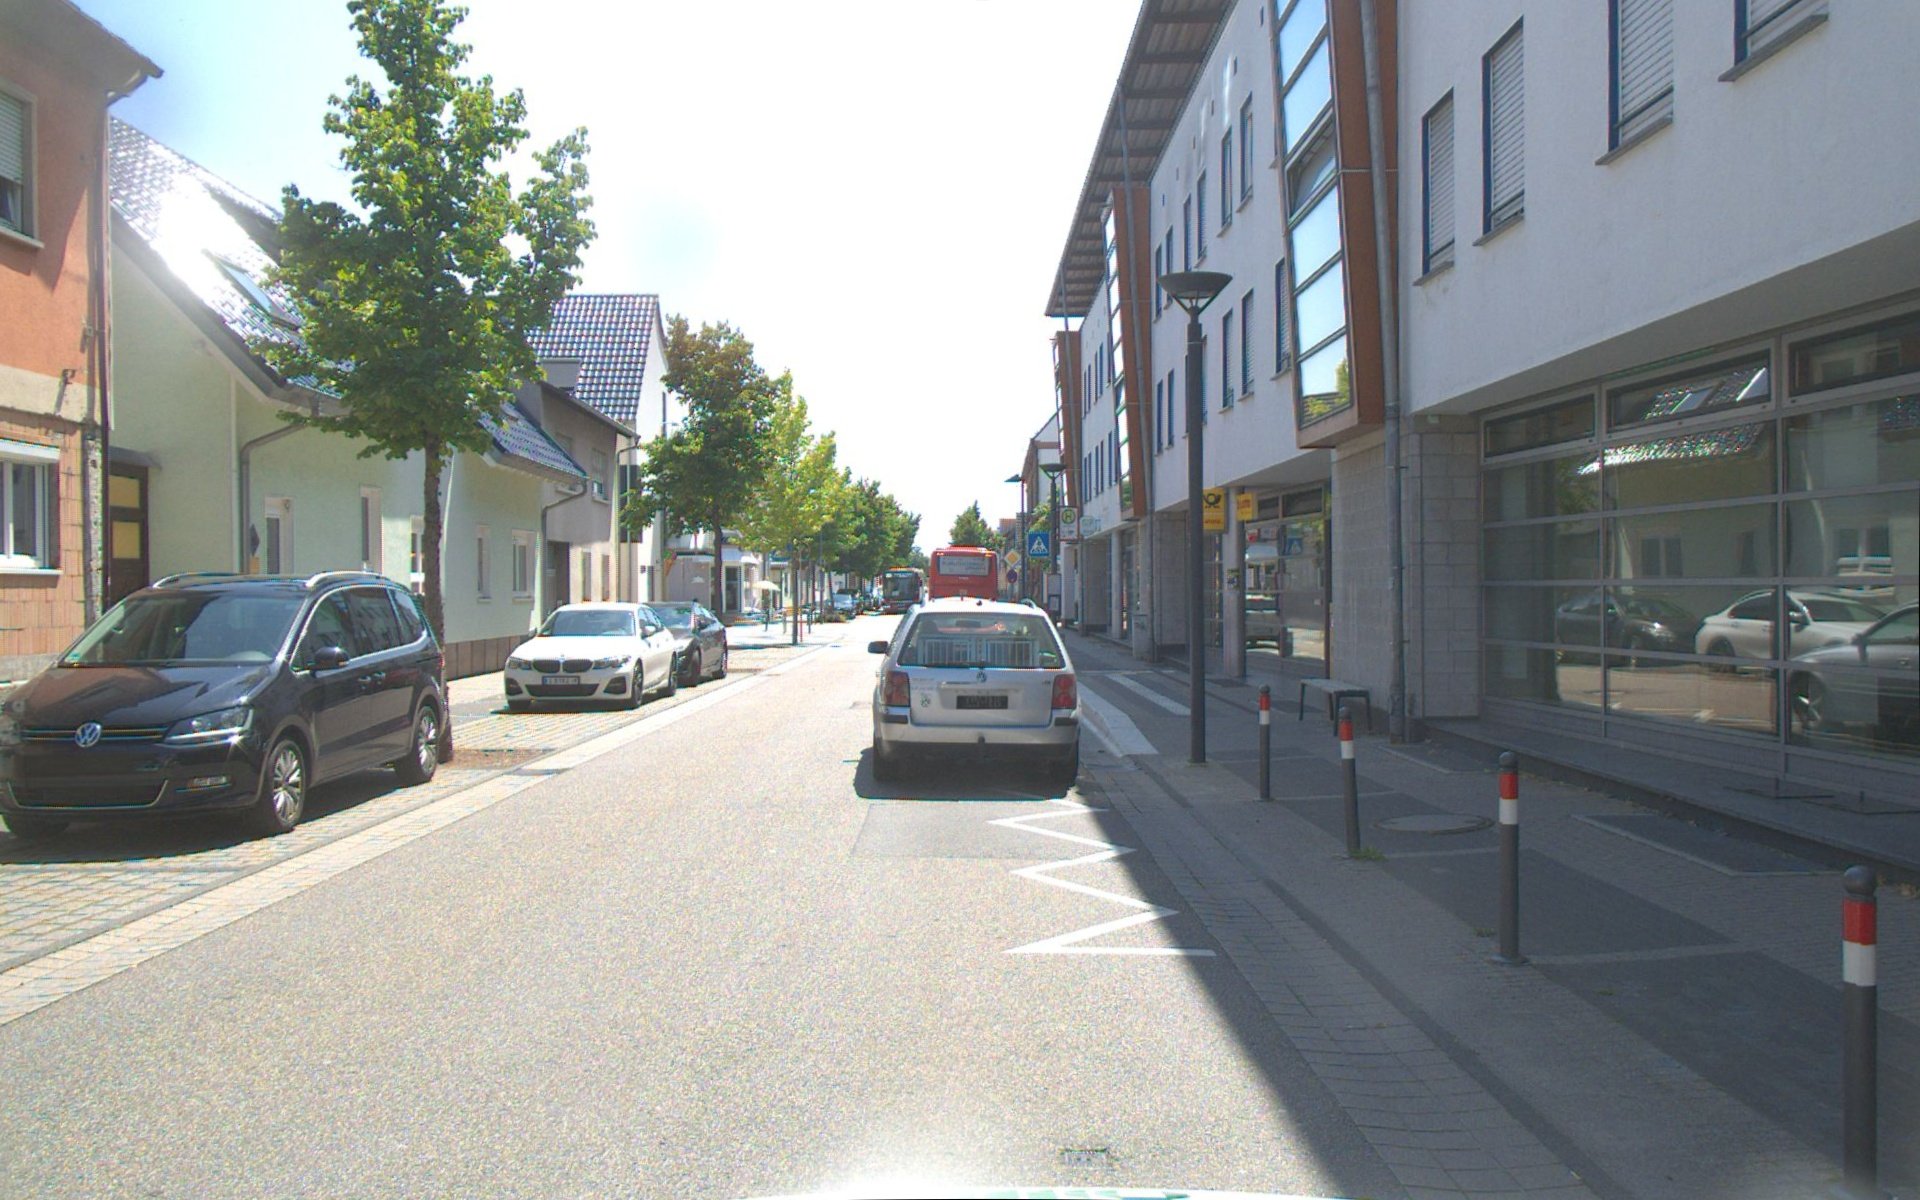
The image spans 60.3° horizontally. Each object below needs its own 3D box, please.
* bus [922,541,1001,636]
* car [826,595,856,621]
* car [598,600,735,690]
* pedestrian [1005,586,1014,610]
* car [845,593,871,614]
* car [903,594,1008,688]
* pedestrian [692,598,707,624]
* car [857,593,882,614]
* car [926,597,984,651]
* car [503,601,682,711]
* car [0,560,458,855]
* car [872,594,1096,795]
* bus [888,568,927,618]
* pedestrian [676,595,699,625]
[{"bbox_3d":[-0.092,-0.386,64.858,2.685,3.356,12.700,0,0,-2],"label":"bus"},{"bbox_3d":[-7.073,0.469,98.569,1.572,1.463,4.064,-1,0,-1],"label":"car"},{"bbox_3d":[-5.227,0.752,29.967,1.626,1.462,4.538,0,0,0],"label":"car"},{"bbox_3d":[3.605,-0.141,121.330,0.594,1.696,0.789,0,0,-2],"label":"pedestrian"},{"bbox_3d":[-7.761,0.263,125.687,1.774,1.586,3.999,-1,0,-1],"label":"car"},{"bbox_3d":[-0.095,0.655,28.376,1.643,1.455,3.679,2,0,-1],"label":"car"},{"bbox_3d":[-11.860,0.497,75.177,0.609,1.199,0.696,-1,0,-5],"label":"pedestrian"},{"bbox_3d":[-7.184,0.283,131.801,1.774,1.586,3.999,-1,0,-1],"label":"car"},{"bbox_3d":[-0.132,0.648,47.028,1.561,1.455,3.679,1,0,0],"label":"car"},{"bbox_3d":[-5.300,0.750,24.403,1.685,1.462,4.459,0,0,-1],"label":"car"},{"bbox_3d":[-5.225,0.635,12.226,1.739,1.756,4.518,-1,0,-2],"label":"car"},{"bbox_3d":[0.165,0.710,14.361,1.643,1.455,3.679,2,0,-1],"label":"car"},{"bbox_3d":[-3.925,-0.641,120.372,2.615,3.178,17.800,-1,2,-2],"label":"bus"},{"bbox_3d":[-12.157,0.435,73.739,0.631,1.311,0.777,2,0,-44],"label":"pedestrian"}]
